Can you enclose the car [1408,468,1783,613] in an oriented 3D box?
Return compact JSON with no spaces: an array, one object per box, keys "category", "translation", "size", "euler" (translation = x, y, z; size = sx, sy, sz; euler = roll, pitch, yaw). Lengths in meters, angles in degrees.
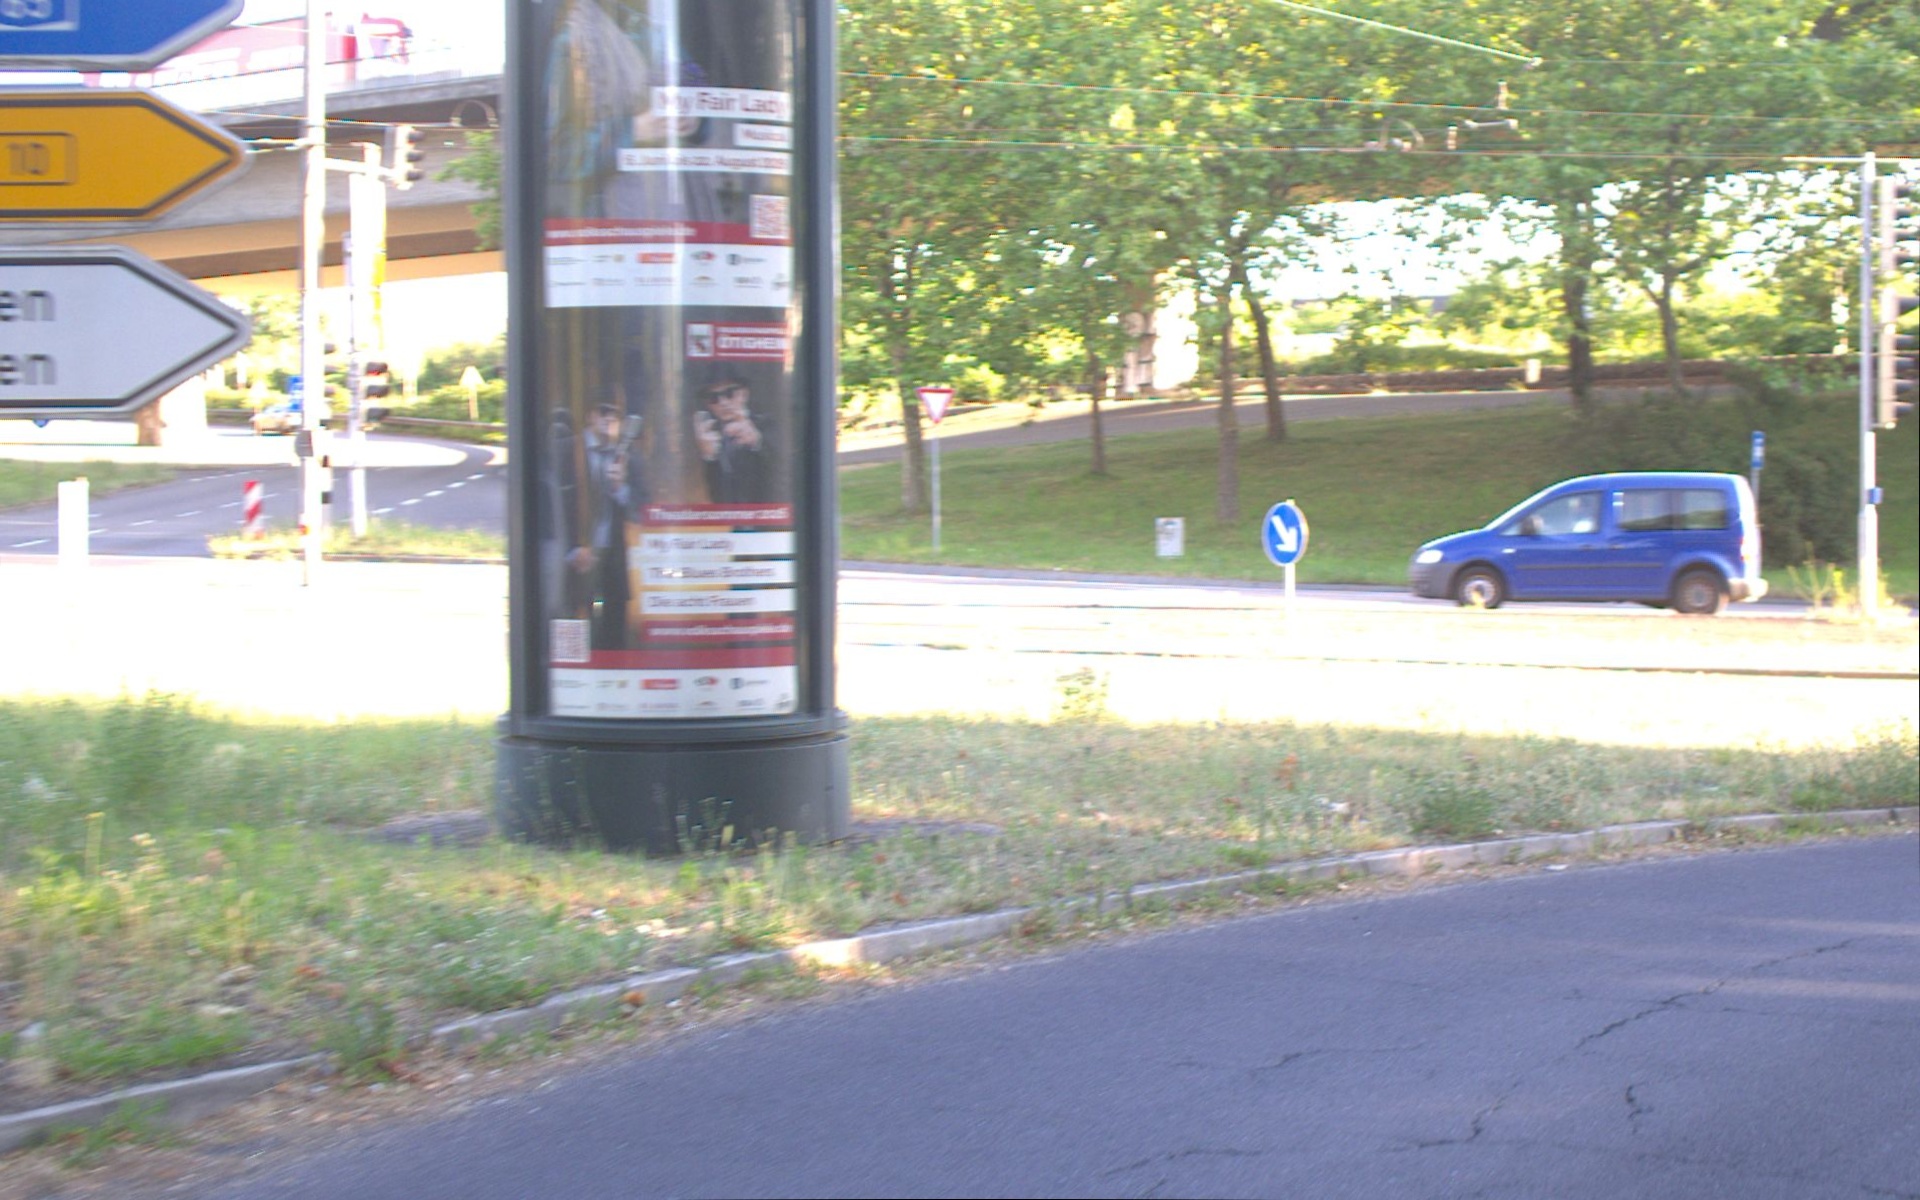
[{"category":"car","translation":[7.945,-0.775,43.348],"size":[4.505,1.686,2.000],"euler":[1,2,7]}]
